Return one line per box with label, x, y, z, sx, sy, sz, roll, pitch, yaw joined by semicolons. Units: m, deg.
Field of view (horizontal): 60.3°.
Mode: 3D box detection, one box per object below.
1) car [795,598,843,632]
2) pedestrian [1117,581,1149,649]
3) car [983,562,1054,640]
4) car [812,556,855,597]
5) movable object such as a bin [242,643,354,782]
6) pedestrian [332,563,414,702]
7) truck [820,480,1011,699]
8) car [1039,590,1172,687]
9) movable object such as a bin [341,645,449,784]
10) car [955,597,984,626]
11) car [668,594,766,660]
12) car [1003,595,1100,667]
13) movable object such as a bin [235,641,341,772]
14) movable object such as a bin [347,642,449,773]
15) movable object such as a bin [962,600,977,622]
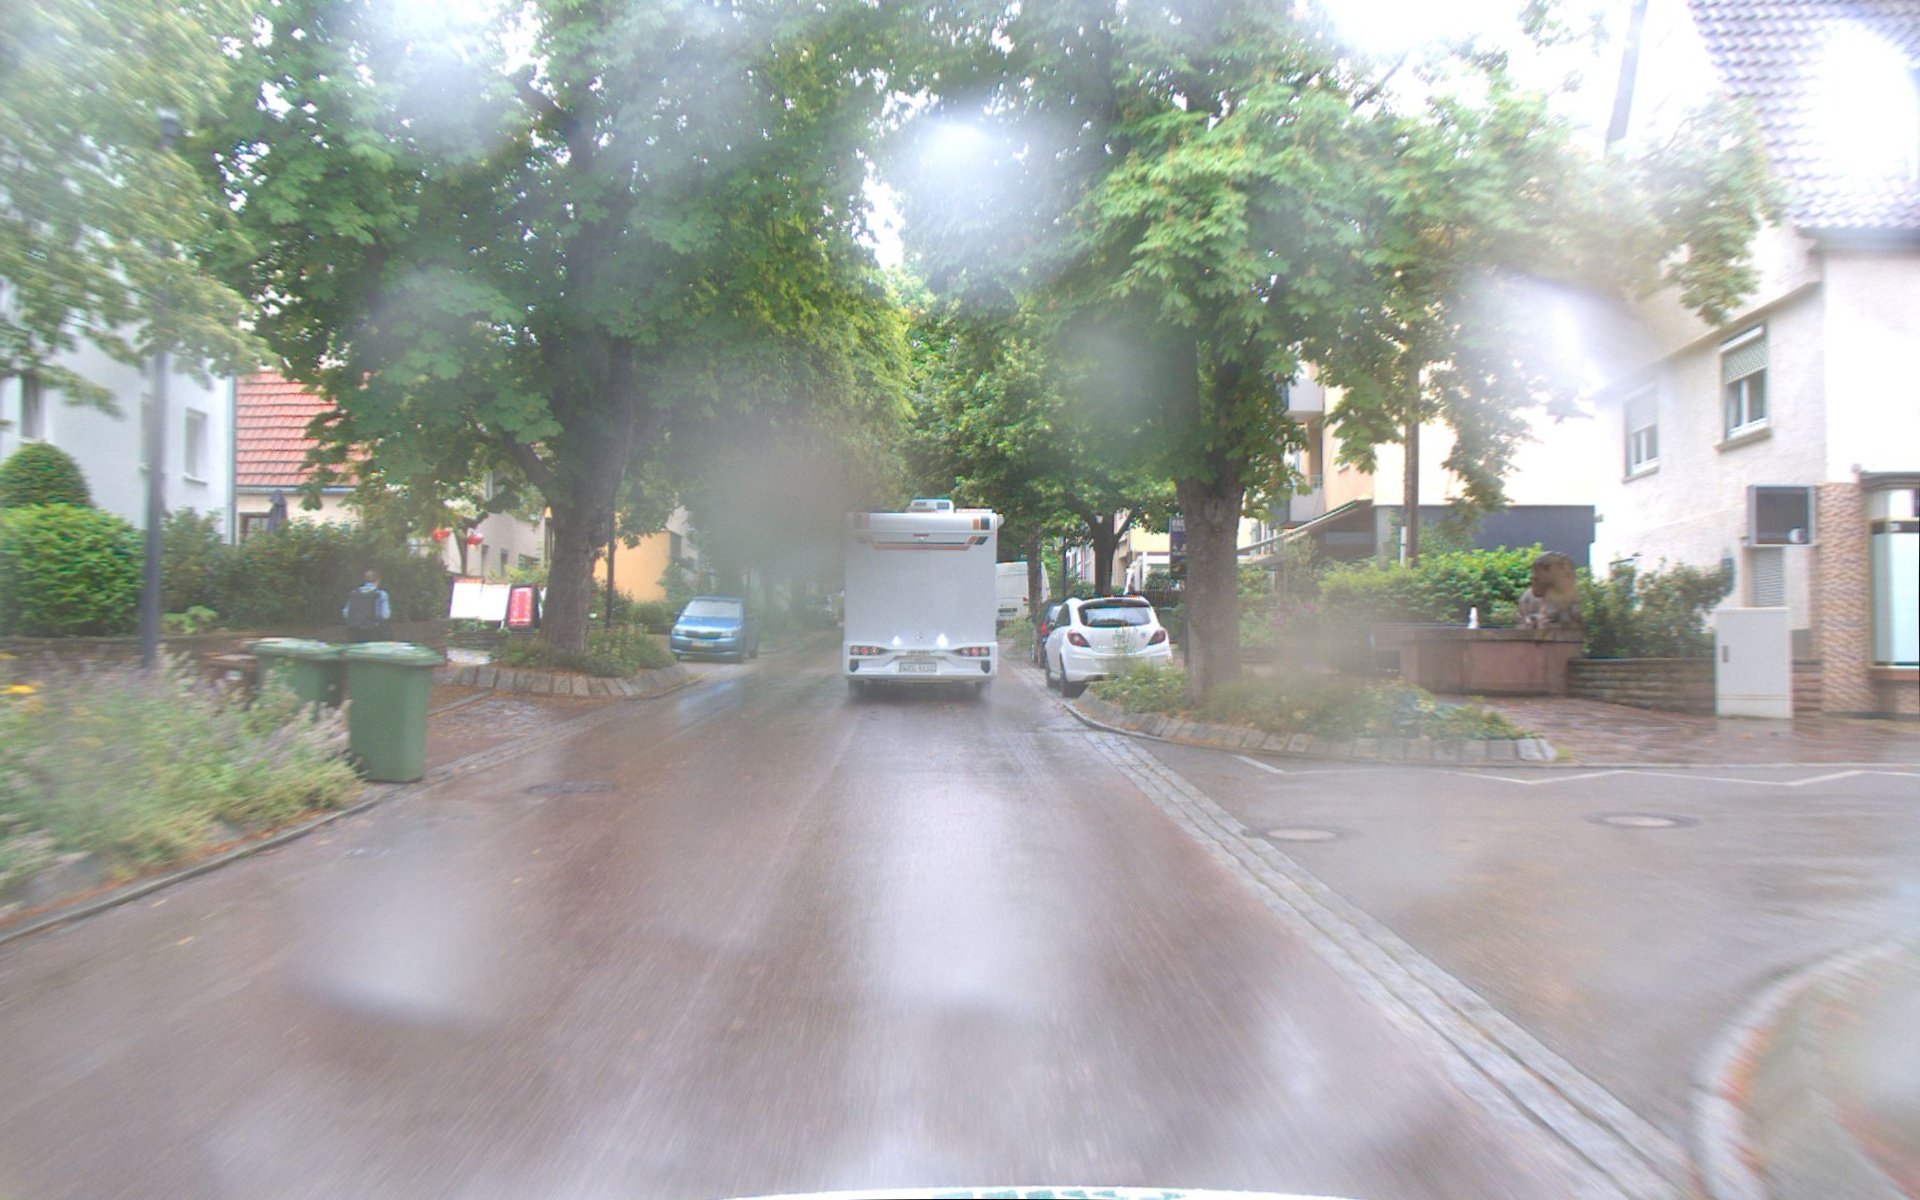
car;-6.333;0.667;74.697;1.736;1.413;4.545;2;0;0
pedestrian;4.527;0.391;43.306;0.751;1.762;0.492;0;0;-4
car;1.924;0.034;56.337;2.097;2.503;5.434;1;0;-1
car;-6.520;-1.196;85.392;1.953;2.049;3.999;1;0;-1
movable object such as a bin;-5.375;0.902;13.457;0.649;1.093;0.596;-1;-1;3
pedestrian;-7.013;0.379;19.783;0.636;1.622;0.932;1;0;-1
truck;-0.670;-0.140;26.265;2.640;3.038;6.235;1;0;-1
car;2.229;0.565;26.246;1.646;1.424;3.793;0;0;-2
movable object such as a bin;-4.567;0.915;13.393;0.649;1.093;0.596;-1;-1;3
car;0.613;0.749;113.042;1.875;1.823;4.488;1;1;-1
car;-5.540;0.592;38.074;1.714;1.420;3.795;1;0;0
car;1.909;0.613;35.359;1.772;1.435;3.782;1;0;-1
movable object such as a bin;-5.773;0.907;14.225;0.649;1.093;0.596;-1;-1;3
movable object such as a bin;-4.826;0.913;14.215;0.649;1.086;0.596;-1;-1;3
movable object such as a bin;0.474;0.550;82.854;0.674;1.101;0.540;1;0;-5
